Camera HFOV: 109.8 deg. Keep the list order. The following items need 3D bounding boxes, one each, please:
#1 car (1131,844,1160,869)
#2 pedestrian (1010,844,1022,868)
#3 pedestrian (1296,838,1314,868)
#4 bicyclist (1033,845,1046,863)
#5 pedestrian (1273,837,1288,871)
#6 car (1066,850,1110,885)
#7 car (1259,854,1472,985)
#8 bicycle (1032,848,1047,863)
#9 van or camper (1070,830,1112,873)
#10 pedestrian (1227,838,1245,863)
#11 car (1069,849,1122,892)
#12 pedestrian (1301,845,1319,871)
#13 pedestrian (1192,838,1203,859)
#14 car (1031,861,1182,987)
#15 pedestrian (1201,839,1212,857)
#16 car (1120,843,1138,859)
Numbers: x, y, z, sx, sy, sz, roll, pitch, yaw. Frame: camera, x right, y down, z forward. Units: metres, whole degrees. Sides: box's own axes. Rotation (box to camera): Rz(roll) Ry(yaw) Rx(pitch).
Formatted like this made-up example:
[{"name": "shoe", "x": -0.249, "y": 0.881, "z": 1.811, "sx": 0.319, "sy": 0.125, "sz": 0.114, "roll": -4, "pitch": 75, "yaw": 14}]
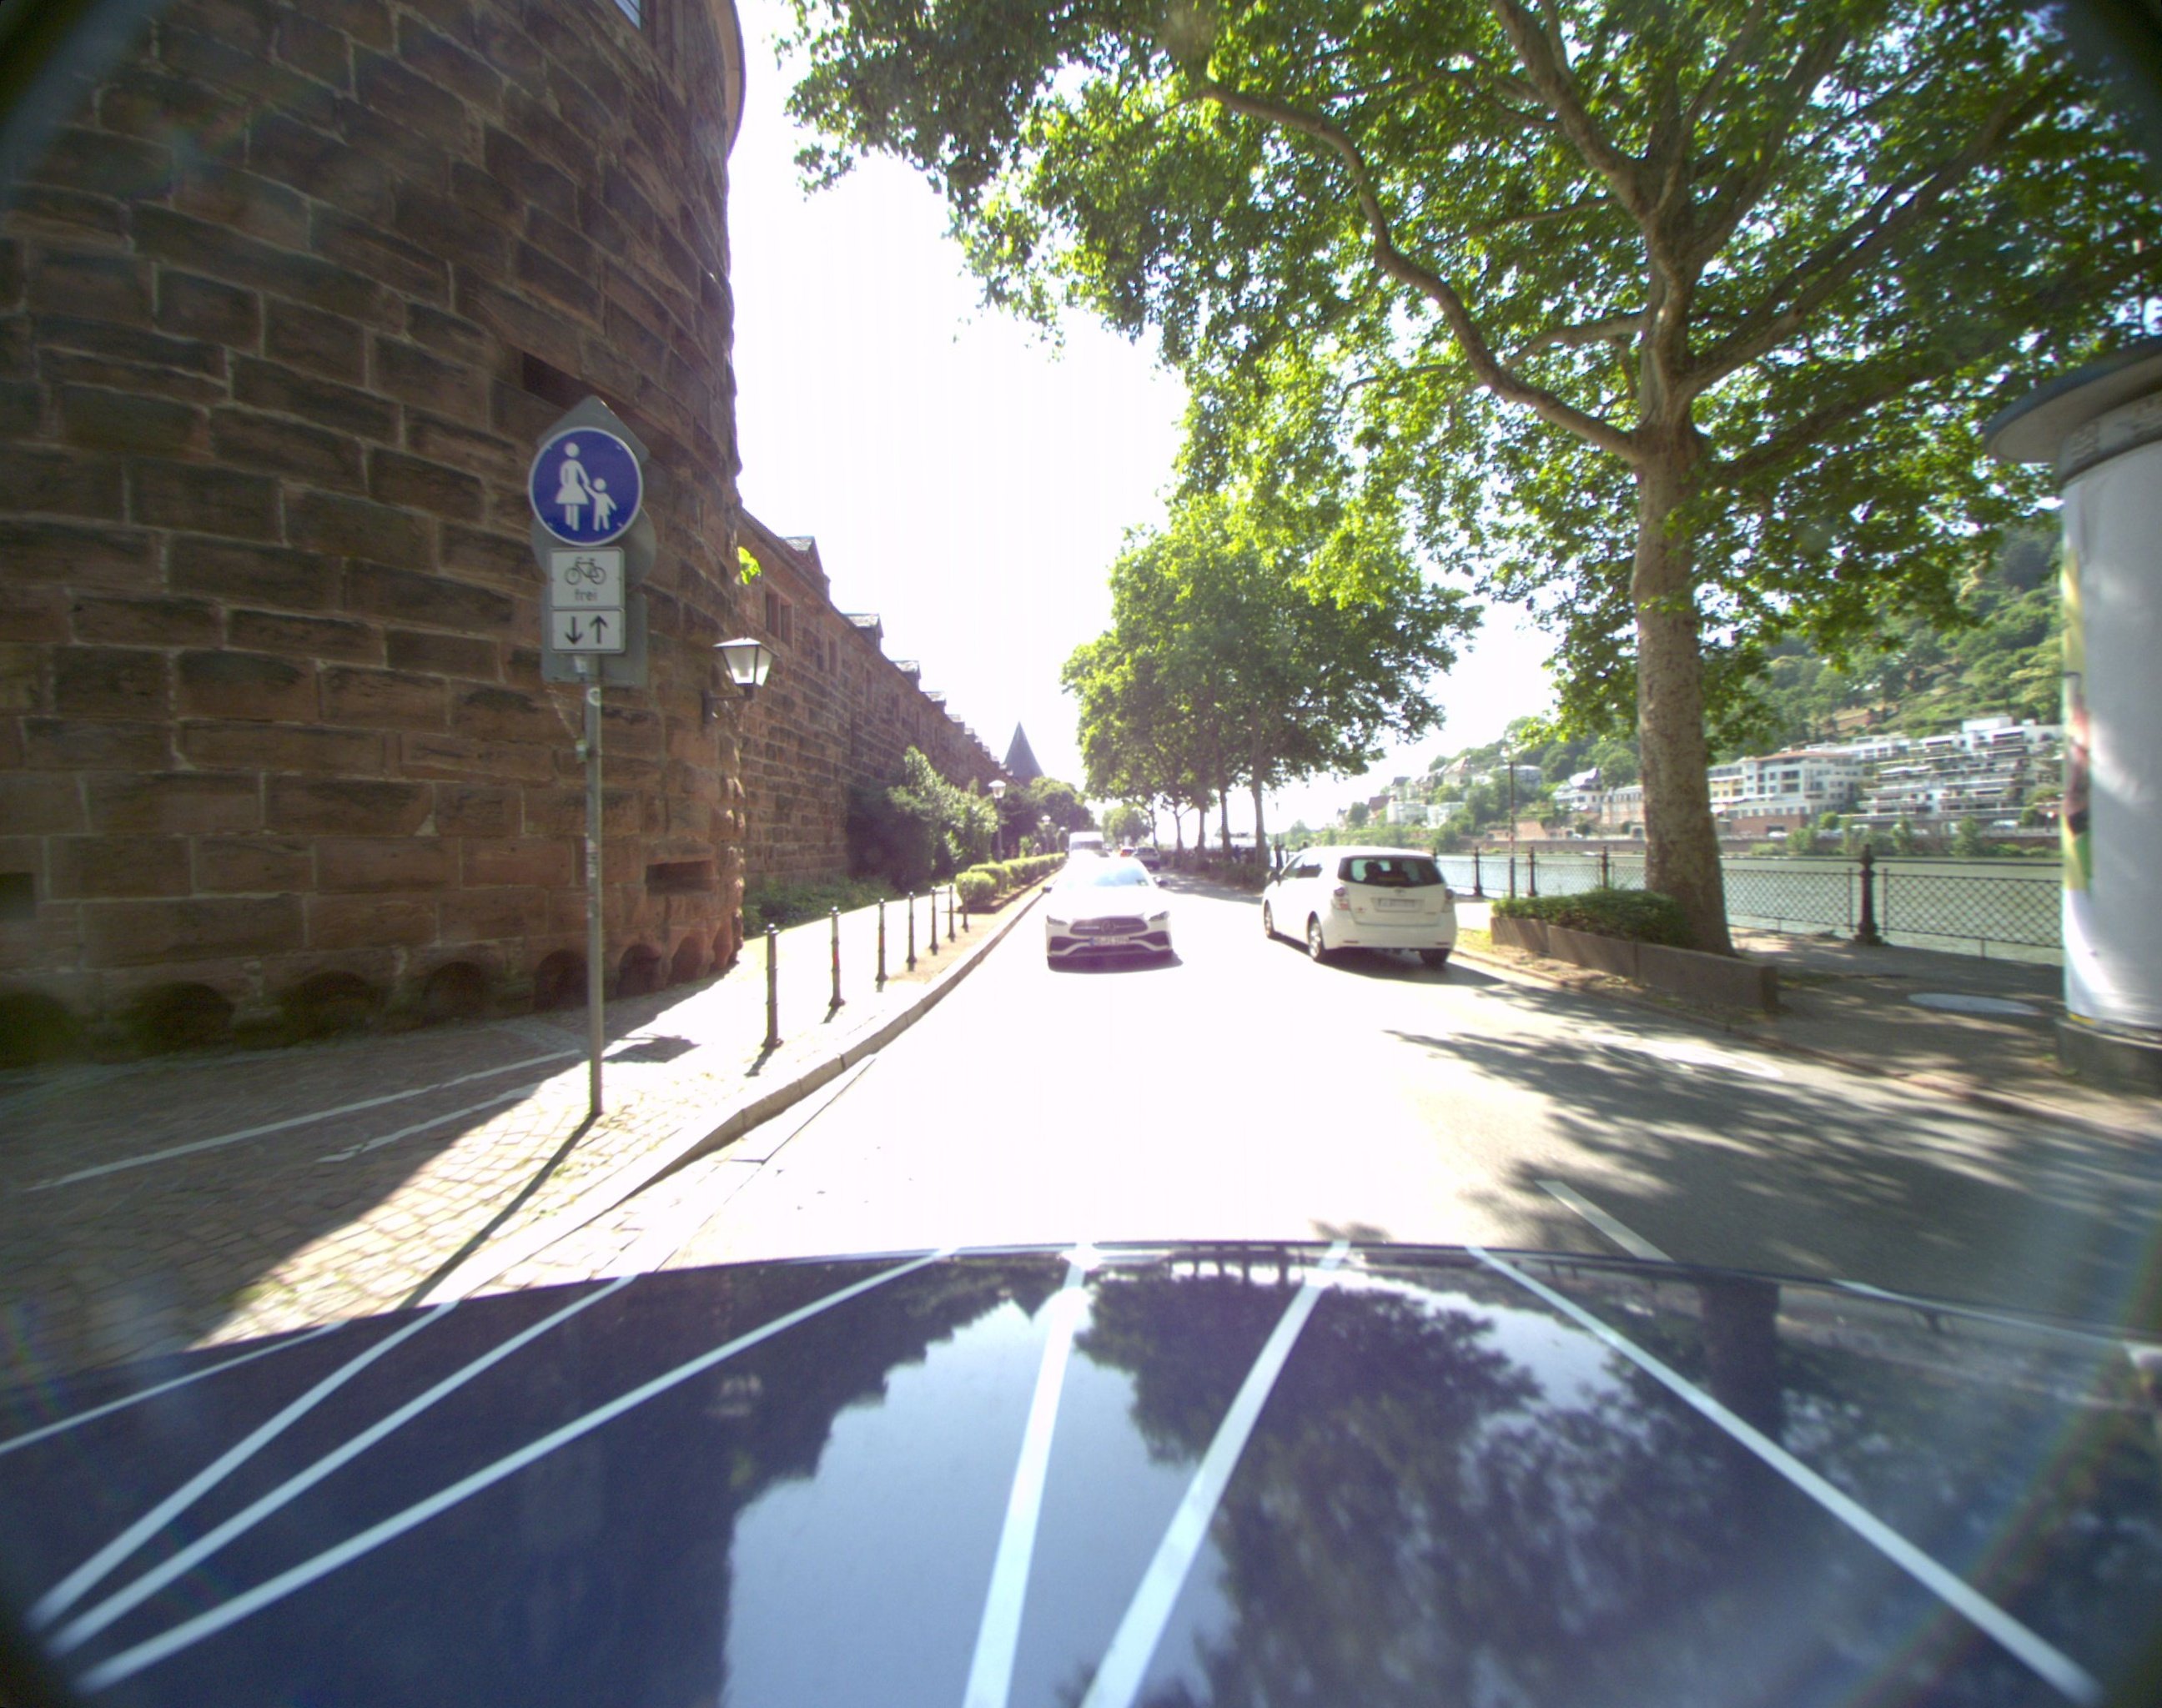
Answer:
[{"name": "car", "x": 4.520, "y": 0.151, "z": 53.330, "sx": 1.773, "sy": 1.650, "sz": 4.000, "roll": 1, "pitch": 1, "yaw": 1}, {"name": "pedestrian", "x": -4.356, "y": 0.106, "z": 51.052, "sx": 0.643, "sy": 1.555, "sz": 0.563, "roll": -3, "pitch": 2, "yaw": 1}, {"name": "pedestrian", "x": 13.325, "y": -0.050, "z": 45.197, "sx": 0.777, "sy": 1.748, "sz": 0.830, "roll": 0, "pitch": 1, "yaw": 0}, {"name": "bicyclist", "x": -2.942, "y": -0.012, "z": 53.796, "sx": 0.812, "sy": 1.264, "sz": 0.852, "roll": -3, "pitch": 2, "yaw": 0}, {"name": "pedestrian", "x": 11.177, "y": 0.010, "z": 42.590, "sx": 0.767, "sy": 1.890, "sz": 0.771, "roll": 0, "pitch": 1, "yaw": 8}, {"name": "car", "x": 0.356, "y": 0.565, "z": 35.320, "sx": 1.833, "sy": 1.395, "sz": 4.423, "roll": -3, "pitch": 1, "yaw": 1}, {"name": "car", "x": 4.045, "y": 0.823, "z": 11.569, "sx": 1.743, "sy": 1.563, "sz": 4.091, "roll": 1, "pitch": 1, "yaw": 1}, {"name": "bicycle", "x": -2.935, "y": 0.121, "z": 53.927, "sx": 0.812, "sy": 0.967, "sz": 2.409, "roll": -3, "pitch": 2, "yaw": 0}, {"name": "van or camper", "x": 0.559, "y": -0.185, "z": 44.168, "sx": 2.313, "sy": 2.358, "sz": 5.034, "roll": 0, "pitch": 1, "yaw": 0}, {"name": "pedestrian", "x": 12.998, "y": -0.264, "z": 63.649, "sx": 1.047, "sy": 2.002, "sz": 1.036, "roll": -2, "pitch": 2, "yaw": 32}, {"name": "car", "x": 0.570, "y": 0.572, "z": 29.472, "sx": 1.833, "sy": 1.428, "sz": 4.270, "roll": -3, "pitch": 1, "yaw": 1}, {"name": "pedestrian", "x": 12.475, "y": 0.205, "z": 41.432, "sx": 0.768, "sy": 1.379, "sz": 0.770, "roll": 0, "pitch": 1, "yaw": 0}, {"name": "pedestrian", "x": 10.617, "y": -0.528, "z": 69.421, "sx": 0.806, "sy": 1.839, "sz": 0.929, "roll": -3, "pitch": 2, "yaw": 1}, {"name": "car", "x": 0.362, "y": 0.895, "z": 11.663, "sx": 1.833, "sy": 1.395, "sz": 4.270, "roll": -3, "pitch": 1, "yaw": 1}, {"name": "pedestrian", "x": 11.517, "y": -0.560, "z": 69.823, "sx": 0.897, "sy": 1.625, "sz": 1.059, "roll": -3, "pitch": 2, "yaw": 7}, {"name": "car", "x": 4.976, "y": -0.314, "z": 79.452, "sx": 1.677, "sy": 1.650, "sz": 4.222, "roll": 1, "pitch": 1, "yaw": 1}]
